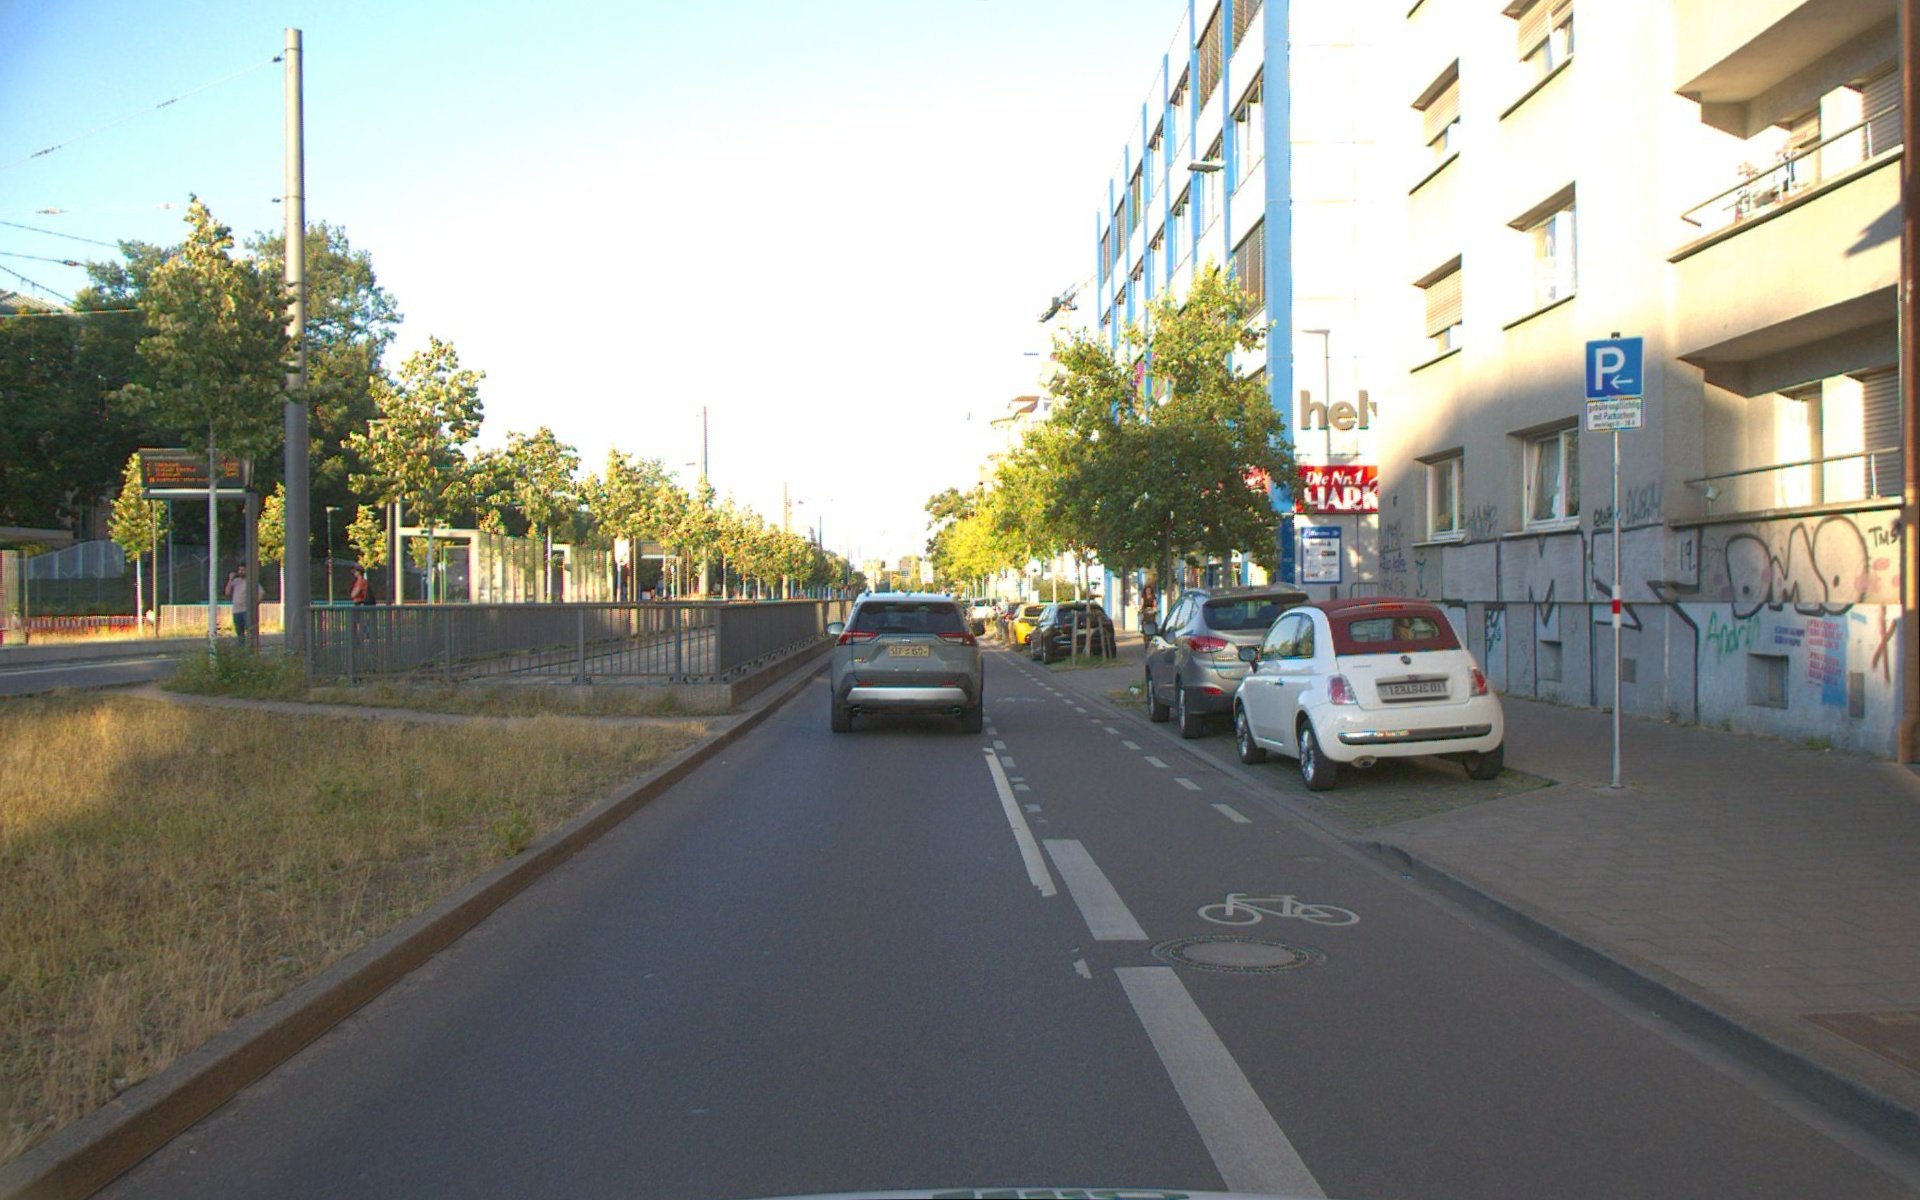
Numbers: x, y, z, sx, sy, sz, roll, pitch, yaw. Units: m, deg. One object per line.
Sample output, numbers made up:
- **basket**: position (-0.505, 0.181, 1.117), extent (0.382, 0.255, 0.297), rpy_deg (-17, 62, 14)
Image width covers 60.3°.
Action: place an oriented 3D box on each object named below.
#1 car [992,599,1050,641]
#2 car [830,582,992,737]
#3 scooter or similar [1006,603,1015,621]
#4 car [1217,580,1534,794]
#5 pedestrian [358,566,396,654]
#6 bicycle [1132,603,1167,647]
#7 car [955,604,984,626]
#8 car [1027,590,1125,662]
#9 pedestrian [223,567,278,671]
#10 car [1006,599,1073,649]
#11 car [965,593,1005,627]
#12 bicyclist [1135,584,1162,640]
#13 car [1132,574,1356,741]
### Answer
- **car**: position (2.275, 0.738, 62.602), extent (1.783, 1.480, 4.125), rpy_deg (-2, 0, -4)
- **car**: position (-0.682, 0.694, 20.948), extent (1.821, 1.744, 4.189), rpy_deg (1, 0, -4)
- **scooter or similar**: position (3.469, 0.822, 113.202), extent (0.481, 1.280, 1.207), rpy_deg (0, -1, -5)
- **car**: position (3.546, 0.685, 14.782), extent (1.637, 1.544, 3.599), rpy_deg (-4, 0, -4)
- **pedestrian**: position (-11.787, 0.195, 33.446), extent (0.623, 1.759, 0.633), rpy_deg (-1, 0, -14)
- **bicycle**: position (5.200, 0.678, 45.429), extent (0.543, 1.149, 1.972), rpy_deg (-4, 0, -4)
- **car**: position (0.663, 1.081, 121.329), extent (1.757, 1.497, 4.441), rpy_deg (-1, 0, -5)
- **car**: position (2.878, 0.636, 42.065), extent (1.783, 1.594, 4.806), rpy_deg (-4, 0, -4)
- **pedestrian**: position (-12.430, 0.323, 28.977), extent (0.711, 1.775, 0.635), rpy_deg (-1, 1, -10)
- **car**: position (2.487, 0.739, 52.633), extent (1.650, 1.480, 4.126), rpy_deg (-2, 0, -4)
- **car**: position (1.356, 0.522, 92.055), extent (1.818, 1.736, 4.251), rpy_deg (-3, 0, -4)
- **bicyclist**: position (5.176, 0.322, 45.475), extent (0.547, 1.501, 0.622), rpy_deg (-4, -1, -4)
- **car**: position (3.274, 0.616, 19.945), extent (1.721, 1.683, 4.527), rpy_deg (-3, 0, -2)
